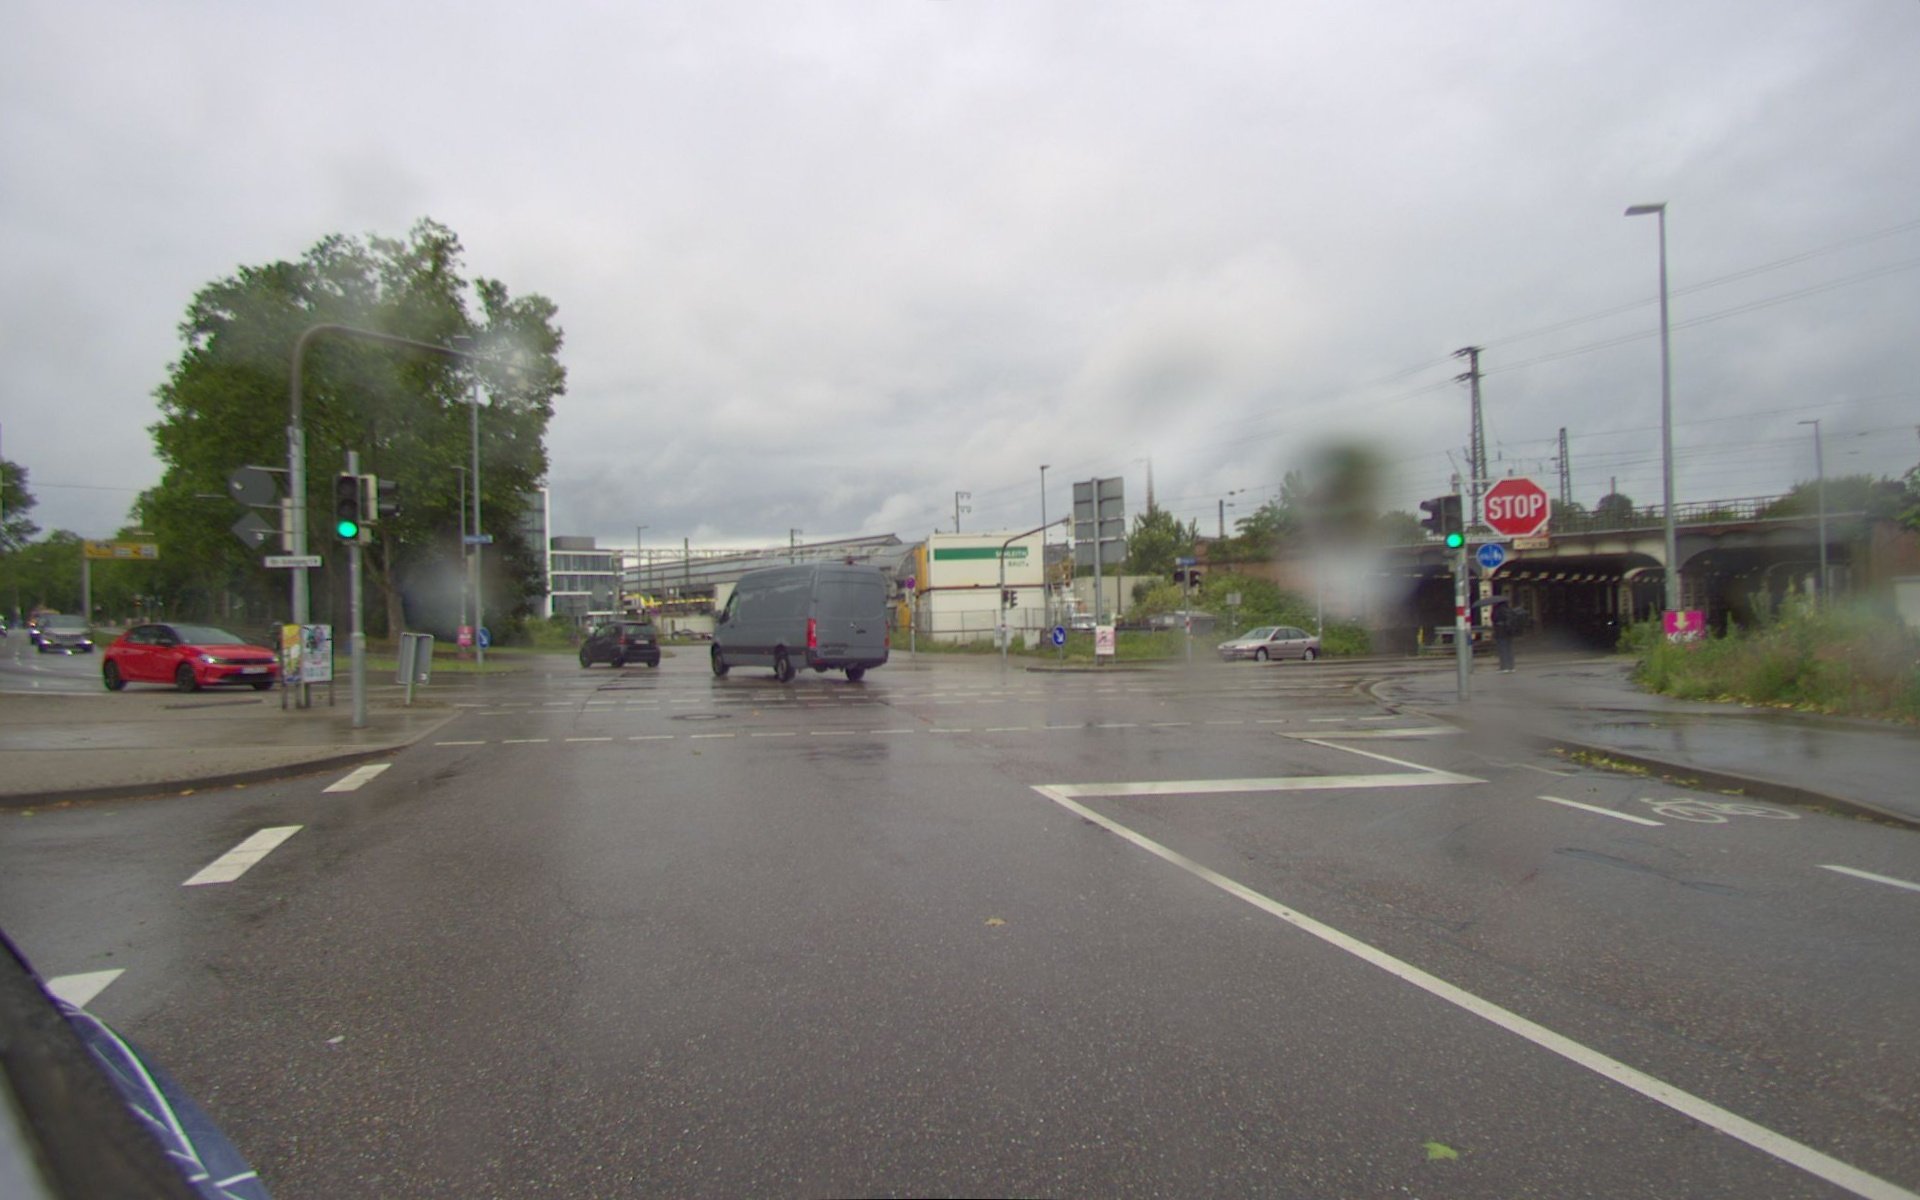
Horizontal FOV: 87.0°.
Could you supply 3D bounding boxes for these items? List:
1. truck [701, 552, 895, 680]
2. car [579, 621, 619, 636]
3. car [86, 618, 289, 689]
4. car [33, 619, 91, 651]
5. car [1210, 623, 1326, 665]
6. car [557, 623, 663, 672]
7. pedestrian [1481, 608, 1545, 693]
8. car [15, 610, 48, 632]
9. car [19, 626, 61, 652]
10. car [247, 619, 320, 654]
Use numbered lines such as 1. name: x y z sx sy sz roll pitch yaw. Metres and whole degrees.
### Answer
1. truck: -4.127 0.422 24.305 2.056 2.639 6.997 0 -2 -32
2. car: -42.176 3.307 118.239 3.940 1.621 1.788 0 -2 -44
3. car: -16.669 1.136 21.836 3.973 1.392 1.732 -1 0 22
4. car: -40.474 1.597 45.588 1.719 1.392 4.002 1 -3 -44
5. car: 11.710 1.639 38.399 4.355 1.497 1.738 1 -2 -30
6. car: -11.658 1.587 33.624 3.524 1.463 1.629 -5 -4 36
7. pedestrian: 13.068 1.169 23.899 1.306 1.923 0.920 0 -2 -44
8. car: -72.546 1.649 79.065 1.826 1.614 4.505 1 -3 -43
9. car: -51.922 2.203 57.117 1.621 1.364 3.778 0 -2 -44
10. car: -33.350 1.794 49.869 3.996 1.654 1.973 -2 -2 40
